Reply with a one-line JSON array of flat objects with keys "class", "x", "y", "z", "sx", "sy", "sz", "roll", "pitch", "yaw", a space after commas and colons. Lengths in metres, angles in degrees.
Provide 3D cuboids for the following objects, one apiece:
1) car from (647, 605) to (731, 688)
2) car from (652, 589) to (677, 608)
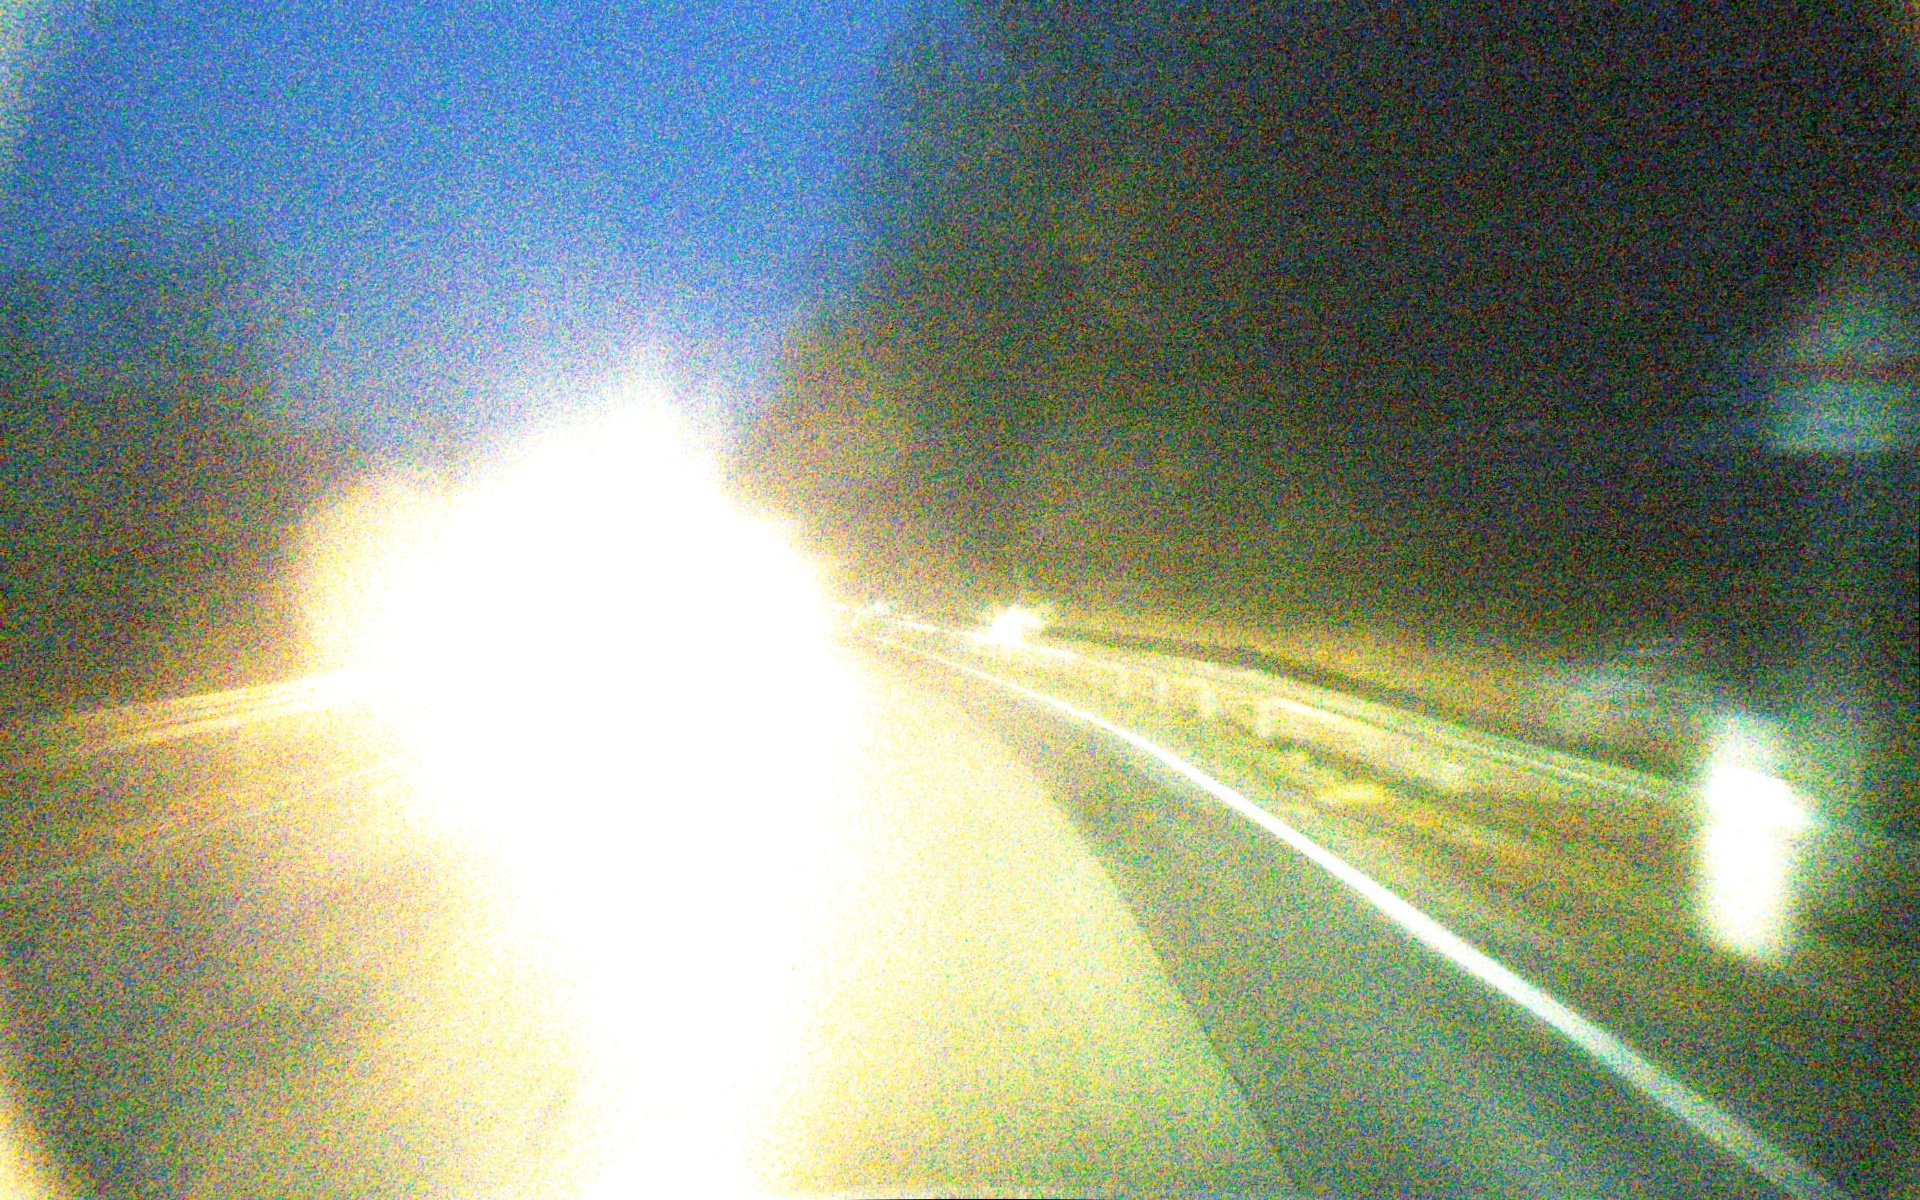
[{"class": "car", "x": -6.843, "y": 1.140, "z": 41.774, "sx": 1.957, "sy": 1.959, "sz": 3.991, "roll": 1, "pitch": -1, "yaw": -9}, {"class": "car", "x": -24.545, "y": -0.108, "z": 137.216, "sx": 1.958, "sy": 1.498, "sz": 3.826, "roll": 1, "pitch": 0, "yaw": -11}]
